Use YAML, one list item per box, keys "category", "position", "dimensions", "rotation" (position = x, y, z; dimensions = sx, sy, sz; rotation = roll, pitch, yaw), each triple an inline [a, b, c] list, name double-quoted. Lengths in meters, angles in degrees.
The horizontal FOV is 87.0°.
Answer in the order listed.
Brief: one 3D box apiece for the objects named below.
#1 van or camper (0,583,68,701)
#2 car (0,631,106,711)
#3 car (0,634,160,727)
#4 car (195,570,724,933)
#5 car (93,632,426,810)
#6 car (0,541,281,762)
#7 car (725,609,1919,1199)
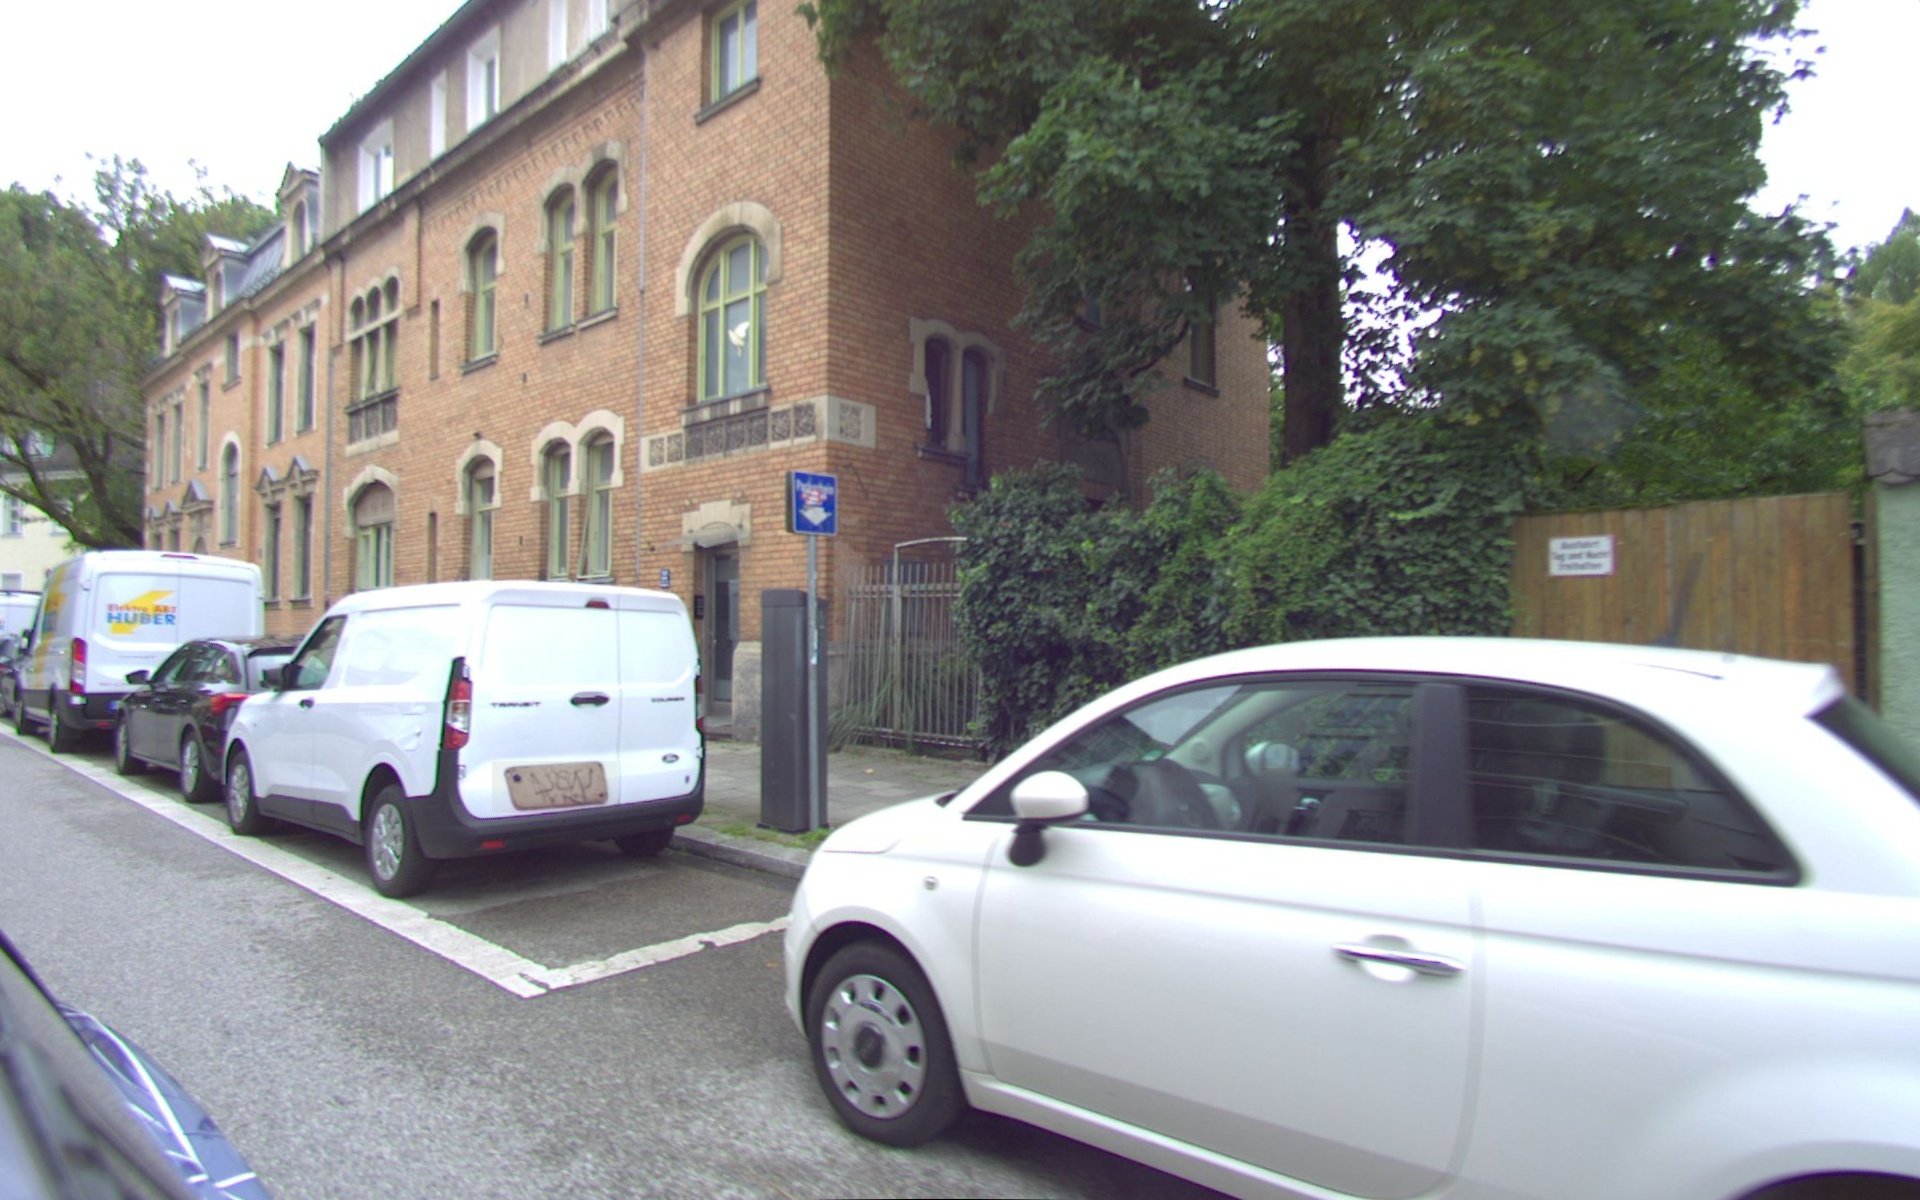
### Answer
- category: "van or camper"
  position: [-23.757, 1.039, 24.785]
  dimensions: [4.954, 2.682, 2.089]
  rotation: [-2, -4, 40]
- category: "car"
  position: [-19.199, 1.426, 20.854]
  dimensions: [4.077, 1.512, 1.747]
  rotation: [-2, -4, 40]
- category: "car"
  position: [-15.416, 1.335, 17.490]
  dimensions: [3.790, 1.426, 1.747]
  rotation: [-2, -4, 40]
- category: "car"
  position: [-3.634, 0.832, 6.994]
  dimensions: [4.247, 1.769, 1.697]
  rotation: [-2, -4, 40]
- category: "car"
  position: [-7.148, 1.071, 10.173]
  dimensions: [4.163, 1.431, 1.697]
  rotation: [-2, -4, 40]
- category: "car"
  position: [-11.453, 0.693, 13.933]
  dimensions: [5.227, 2.495, 2.090]
  rotation: [-2, -4, 40]
- category: "car"
  position: [1.116, 0.814, 2.778]
  dimensions: [3.517, 1.479, 1.610]
  rotation: [-2, -4, 39]
